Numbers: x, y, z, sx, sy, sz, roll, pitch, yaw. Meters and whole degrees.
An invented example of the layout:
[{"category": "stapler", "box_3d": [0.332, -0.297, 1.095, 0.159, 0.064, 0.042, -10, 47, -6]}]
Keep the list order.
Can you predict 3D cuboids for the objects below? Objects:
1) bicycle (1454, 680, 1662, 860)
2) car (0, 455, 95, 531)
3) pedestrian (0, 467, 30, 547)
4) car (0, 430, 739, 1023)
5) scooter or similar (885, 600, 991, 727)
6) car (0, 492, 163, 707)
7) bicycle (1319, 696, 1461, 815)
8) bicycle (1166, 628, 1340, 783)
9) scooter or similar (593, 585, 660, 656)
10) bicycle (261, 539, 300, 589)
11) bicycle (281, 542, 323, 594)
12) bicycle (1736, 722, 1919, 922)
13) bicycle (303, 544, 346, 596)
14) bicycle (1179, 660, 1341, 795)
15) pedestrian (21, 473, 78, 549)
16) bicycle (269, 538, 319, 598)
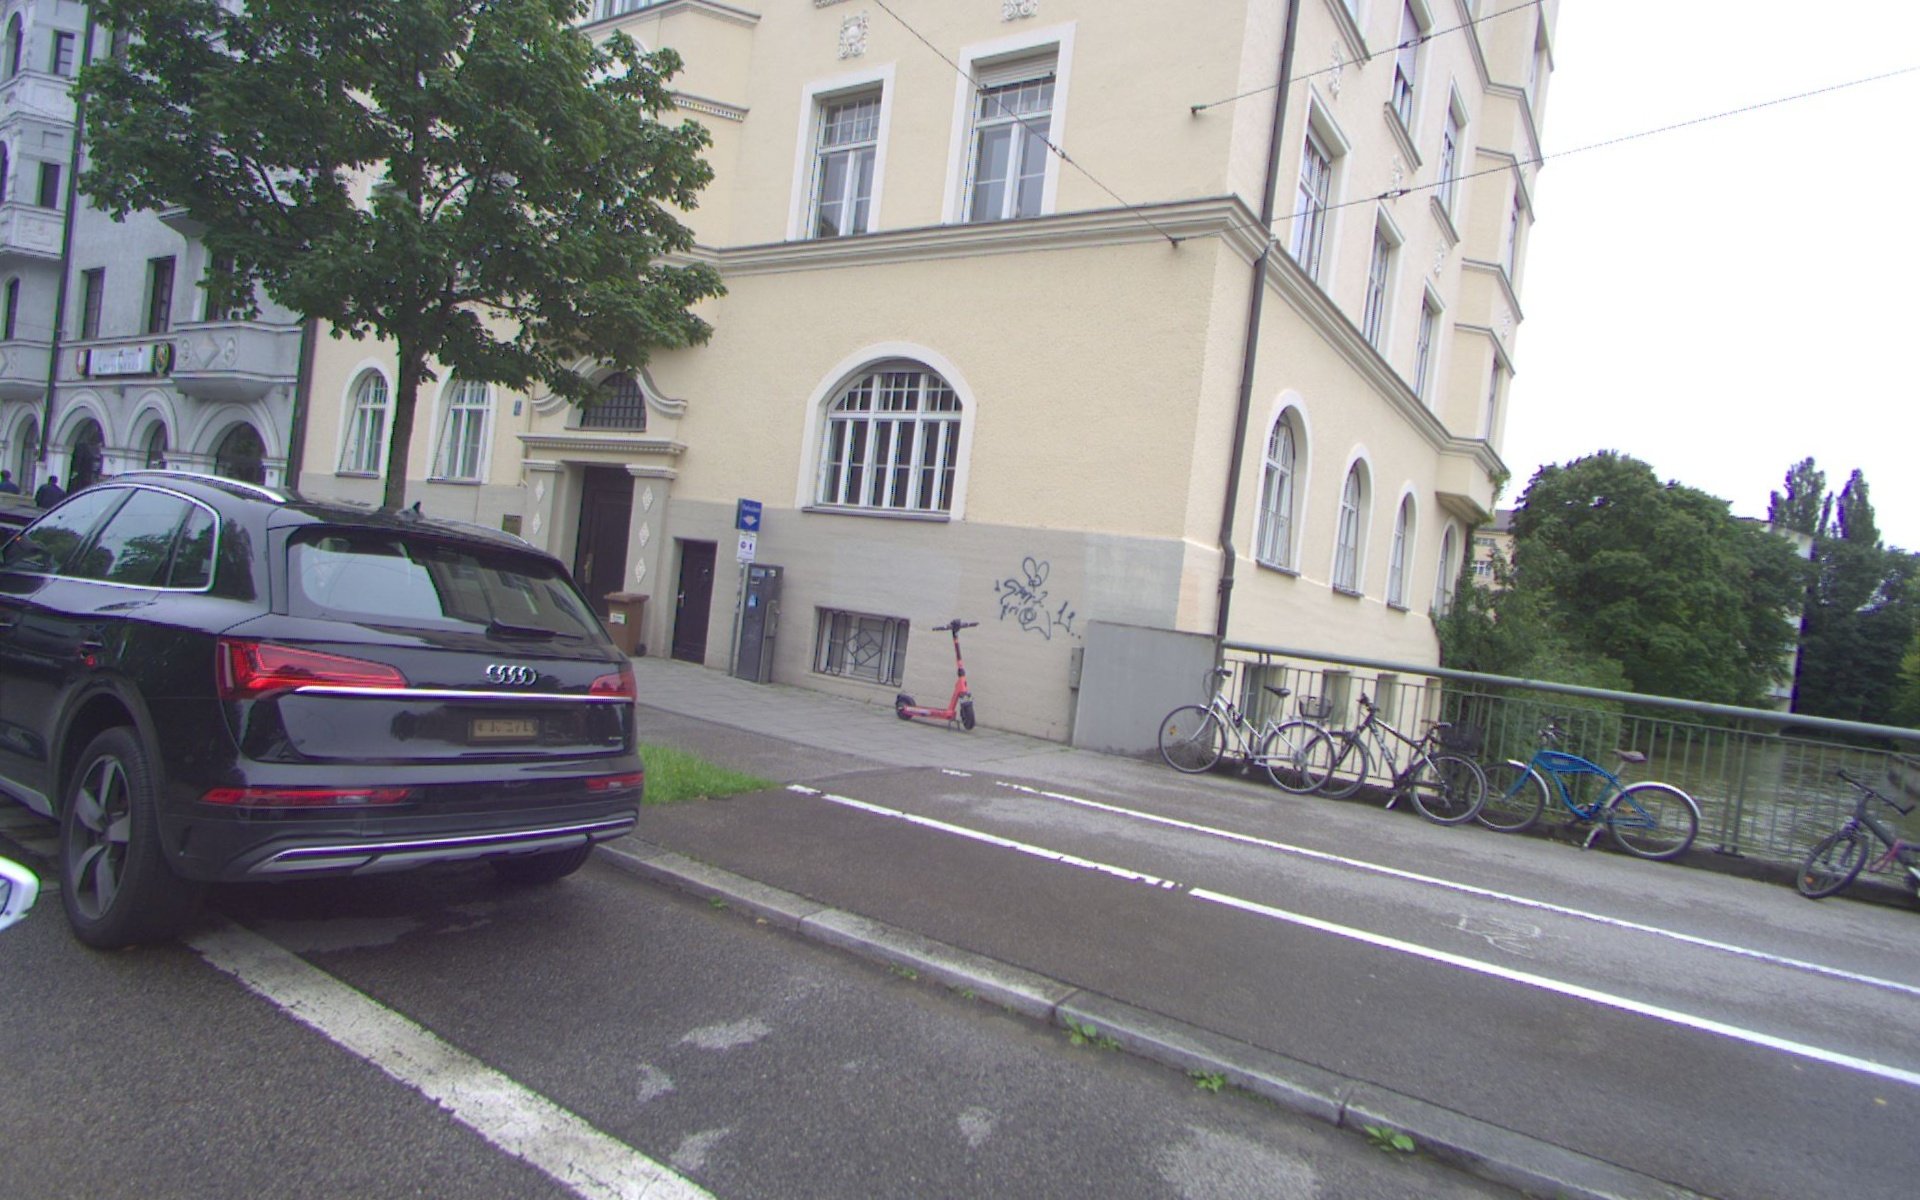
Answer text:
[{"category": "bicycle", "box_3d": [5.127, 1.437, 8.693, 1.384, 1.297, 0.283, 7, -1, 21]}, {"category": "car", "box_3d": [-39.903, -4.665, 41.834, 2.192, 2.642, 5.309, 7, -2, 29]}, {"category": "pedestrian", "box_3d": [-23.409, -2.297, 24.539, 0.855, 1.838, 0.706, 7, -1, 32]}, {"category": "car", "box_3d": [-3.370, 0.235, 4.794, 4.414, 1.677, 1.777, 7, -1, 33]}, {"category": "scooter or similar", "box_3d": [-0.264, 0.729, 11.768, 1.123, 1.328, 0.261, 7, -1, 32]}, {"category": "car", "box_3d": [-8.413, -0.229, 7.981, 4.526, 1.442, 1.719, 7, -2, 32]}, {"category": "bicycle", "box_3d": [4.063, 1.464, 9.545, 1.122, 0.948, 0.249, 6, 3, 11]}, {"category": "bicycle", "box_3d": [2.956, 1.041, 10.219, 1.511, 1.327, 0.332, 7, -1, 31]}, {"category": "scooter or similar", "box_3d": [-4.986, 0.315, 15.044, 0.538, 0.957, 0.662, 7, -1, 33]}, {"category": "bicycle", "box_3d": [-14.091, -0.756, 20.854, 0.871, 0.941, 0.259, 7, -1, 33]}, {"category": "bicycle", "box_3d": [-13.316, -0.652, 20.366, 0.871, 0.941, 0.291, 7, -1, 33]}, {"category": "bicycle", "box_3d": [6.816, 1.678, 7.587, 1.384, 1.297, 0.283, 7, -1, 21]}, {"category": "bicycle", "box_3d": [-12.534, -0.593, 19.836, 0.871, 0.941, 0.306, 7, -1, 34]}, {"category": "bicycle", "box_3d": [2.994, 1.252, 10.093, 1.417, 1.119, 0.287, 7, 0, 25]}, {"category": "pedestrian", "box_3d": [-22.866, -2.242, 25.268, 0.829, 1.752, 0.706, 7, -1, 32]}, {"category": "bicycle", "box_3d": [-13.048, -0.641, 19.696, 1.203, 1.051, 0.242, 7, -1, 32]}]
